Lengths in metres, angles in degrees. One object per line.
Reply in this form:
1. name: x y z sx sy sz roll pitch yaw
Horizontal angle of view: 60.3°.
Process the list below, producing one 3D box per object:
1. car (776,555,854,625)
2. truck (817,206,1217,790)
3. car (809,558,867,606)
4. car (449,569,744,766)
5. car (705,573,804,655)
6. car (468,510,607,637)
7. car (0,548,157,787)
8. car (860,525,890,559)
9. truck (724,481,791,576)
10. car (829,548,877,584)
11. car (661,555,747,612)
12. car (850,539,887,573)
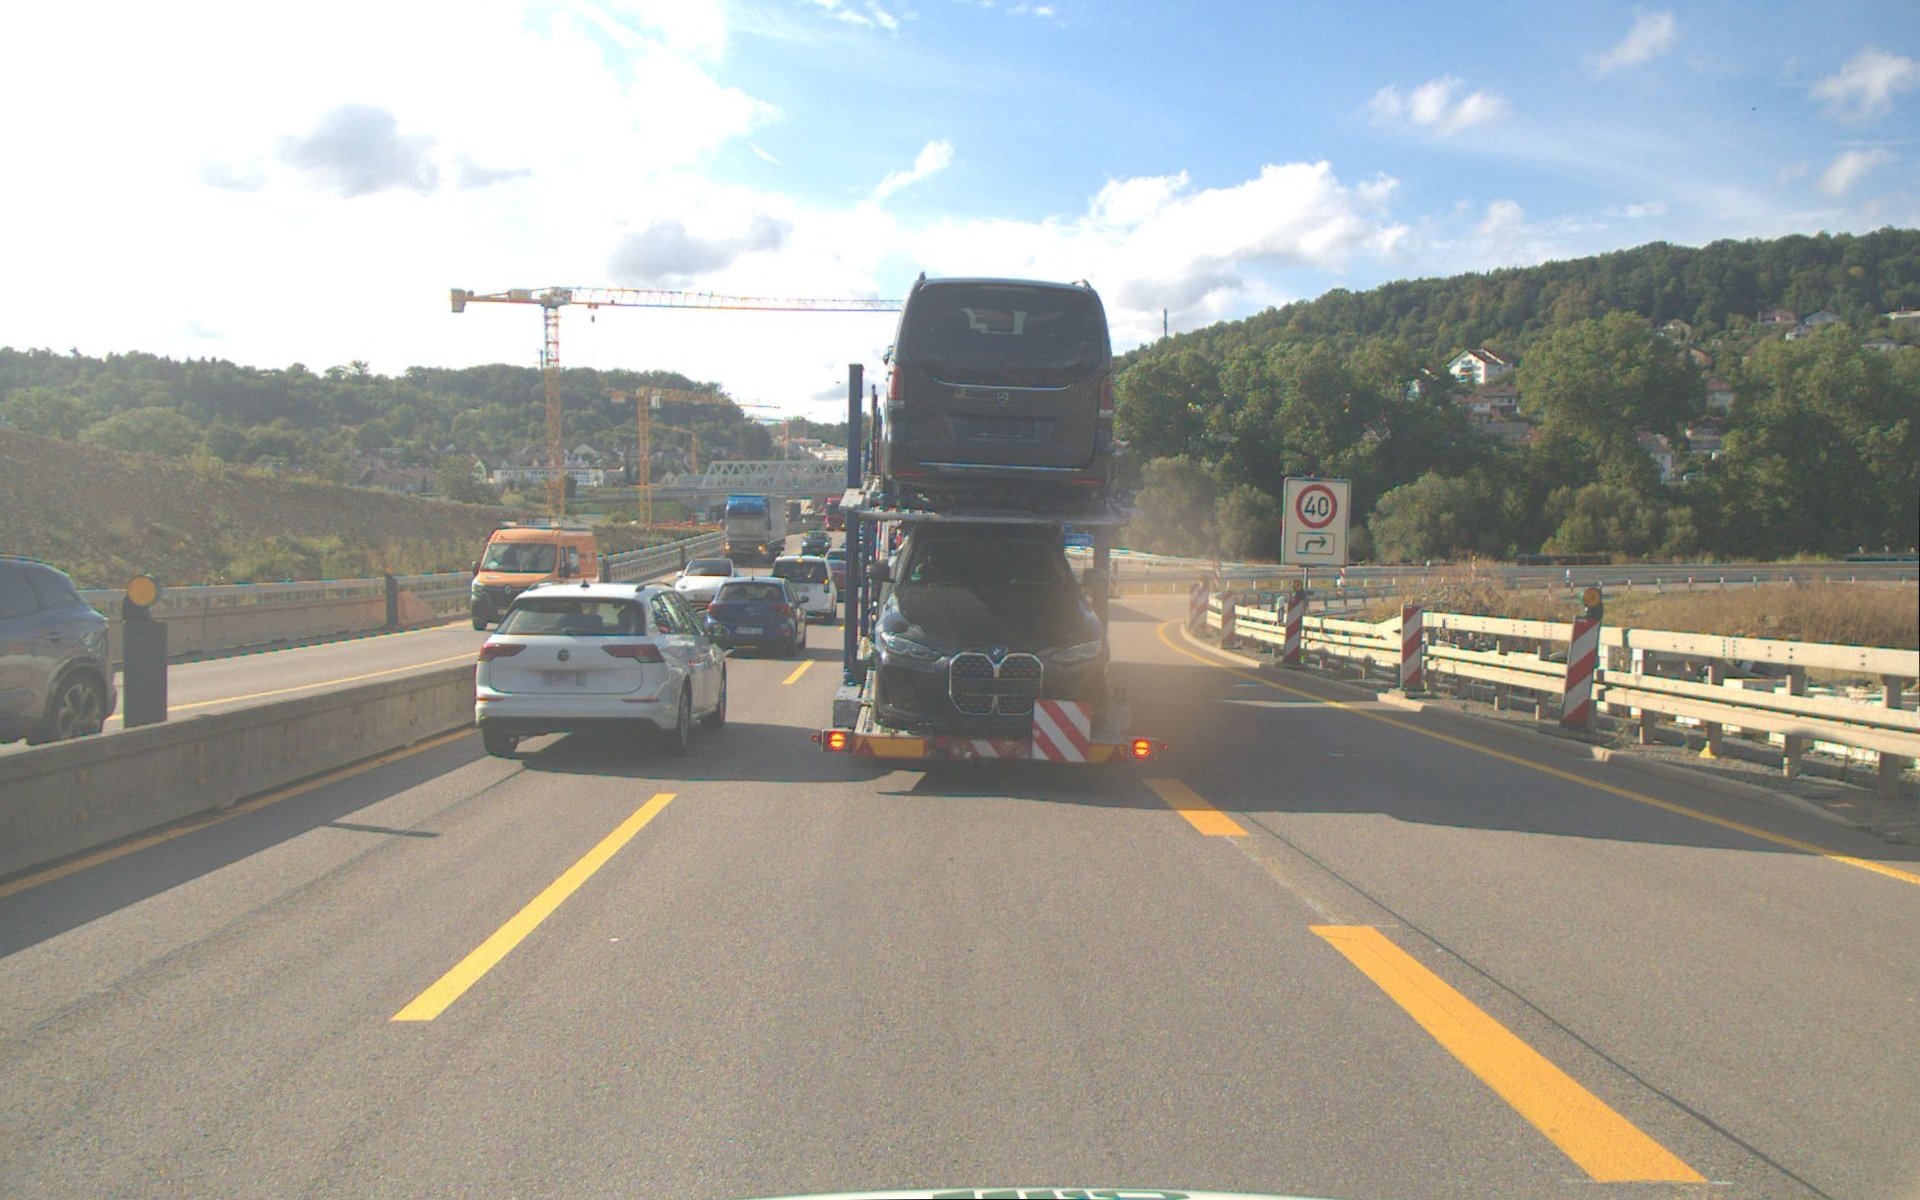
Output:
1. car: -4.043 -0.245 46.607 1.785 1.824 3.999 1 -1 0
2. truck: 0.087 -0.756 21.135 2.698 4.023 18.882 2 0 -2
3. car: -4.501 -0.631 61.612 1.953 1.584 4.399 1 -1 -2
4. car: -3.177 0.540 15.383 1.734 1.517 4.516 1 0 0
5. car: -3.887 0.255 31.791 1.688 1.447 3.996 1 0 -5
6. car: -10.522 -0.666 41.701 1.953 2.929 6.064 1 1 0
7. car: -7.638 0.457 11.482 1.805 1.677 4.239 1 0 4
8. car: -5.920 -4.035 115.716 1.953 2.049 3.999 1 -1 -1
9. truck: -12.223 -4.178 100.754 2.765 4.872 13.048 1 -1 -2
10. car: -4.925 -1.550 76.476 1.953 1.579 4.000 1 1 0
11. car: -8.035 -0.528 52.182 1.952 1.713 4.001 1 1 2
12. car: -5.210 -2.495 94.227 1.953 1.695 3.998 1 -1 -1
